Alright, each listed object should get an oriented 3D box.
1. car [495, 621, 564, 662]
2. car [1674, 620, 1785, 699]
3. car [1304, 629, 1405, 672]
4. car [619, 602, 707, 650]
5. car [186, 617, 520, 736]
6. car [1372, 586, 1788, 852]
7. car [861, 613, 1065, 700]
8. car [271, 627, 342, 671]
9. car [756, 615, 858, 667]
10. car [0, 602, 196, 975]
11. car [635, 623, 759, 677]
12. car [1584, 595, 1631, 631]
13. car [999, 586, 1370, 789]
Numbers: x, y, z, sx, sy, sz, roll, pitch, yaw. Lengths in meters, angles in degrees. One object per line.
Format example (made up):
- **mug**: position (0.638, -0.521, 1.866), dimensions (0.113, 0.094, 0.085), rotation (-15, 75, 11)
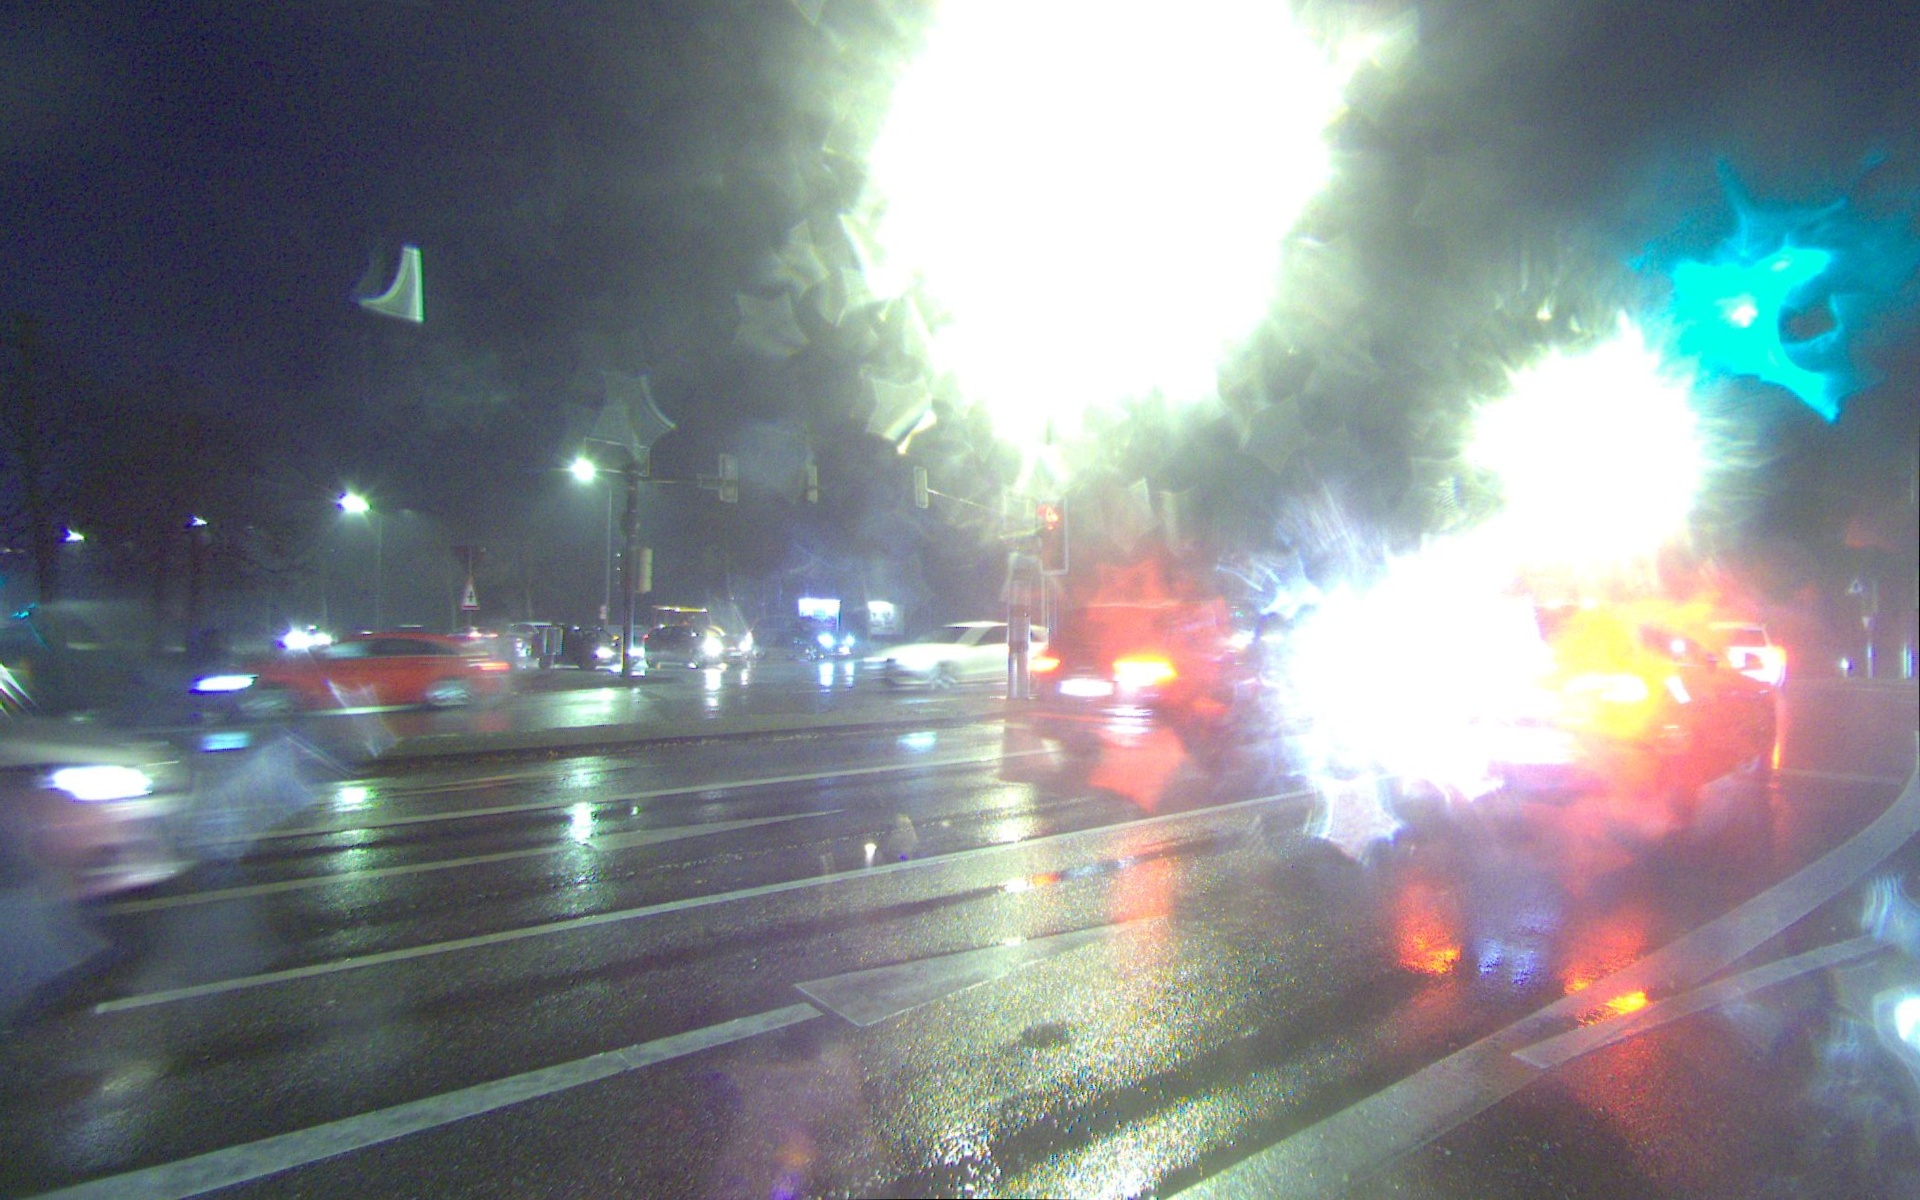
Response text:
- **car**: position (-22.364, 2.131, 52.179), dimensions (3.551, 1.964, 1.707), rotation (1, -1, 36)
- **car**: position (16.255, 1.204, 21.137), dimensions (1.679, 1.482, 4.294), rotation (0, -2, 40)
- **car**: position (15.241, 1.898, 38.642), dimensions (1.907, 1.482, 4.758), rotation (1, 0, 44)
- **car**: position (-13.720, 1.180, 46.277), dimensions (4.080, 2.051, 1.787), rotation (1, 0, 37)
- **car**: position (-10.525, 1.204, 17.664), dimensions (4.751, 1.816, 2.010), rotation (1, -1, -43)
- **car**: position (5.438, 0.772, 8.542), dimensions (4.446, 1.675, 1.811), rotation (1, 1, -42)
- **car**: position (0.142, 1.207, 22.273), dimensions (4.425, 1.743, 1.885), rotation (2, -3, -41)
- **car**: position (-34.298, 2.515, 52.684), dimensions (3.931, 2.107, 1.659), rotation (1, 0, 33)
- **car**: position (-6.138, 1.585, 40.107), dimensions (4.080, 1.878, 1.661), rotation (1, 0, 37)
- **car**: position (-5.542, 0.705, 3.716), dimensions (4.251, 1.455, 1.724), rotation (2, -1, -37)
- **car**: position (-9.145, 1.682, 34.827), dimensions (4.191, 1.654, 1.951), rotation (1, 0, 37)
- **car**: position (39.639, 0.833, 61.474), dimensions (1.756, 2.106, 3.978), rotation (2, 0, 42)
- **car**: position (2.452, 0.800, 10.405), dimensions (3.959, 1.680, 1.891), rotation (3, -2, -44)
